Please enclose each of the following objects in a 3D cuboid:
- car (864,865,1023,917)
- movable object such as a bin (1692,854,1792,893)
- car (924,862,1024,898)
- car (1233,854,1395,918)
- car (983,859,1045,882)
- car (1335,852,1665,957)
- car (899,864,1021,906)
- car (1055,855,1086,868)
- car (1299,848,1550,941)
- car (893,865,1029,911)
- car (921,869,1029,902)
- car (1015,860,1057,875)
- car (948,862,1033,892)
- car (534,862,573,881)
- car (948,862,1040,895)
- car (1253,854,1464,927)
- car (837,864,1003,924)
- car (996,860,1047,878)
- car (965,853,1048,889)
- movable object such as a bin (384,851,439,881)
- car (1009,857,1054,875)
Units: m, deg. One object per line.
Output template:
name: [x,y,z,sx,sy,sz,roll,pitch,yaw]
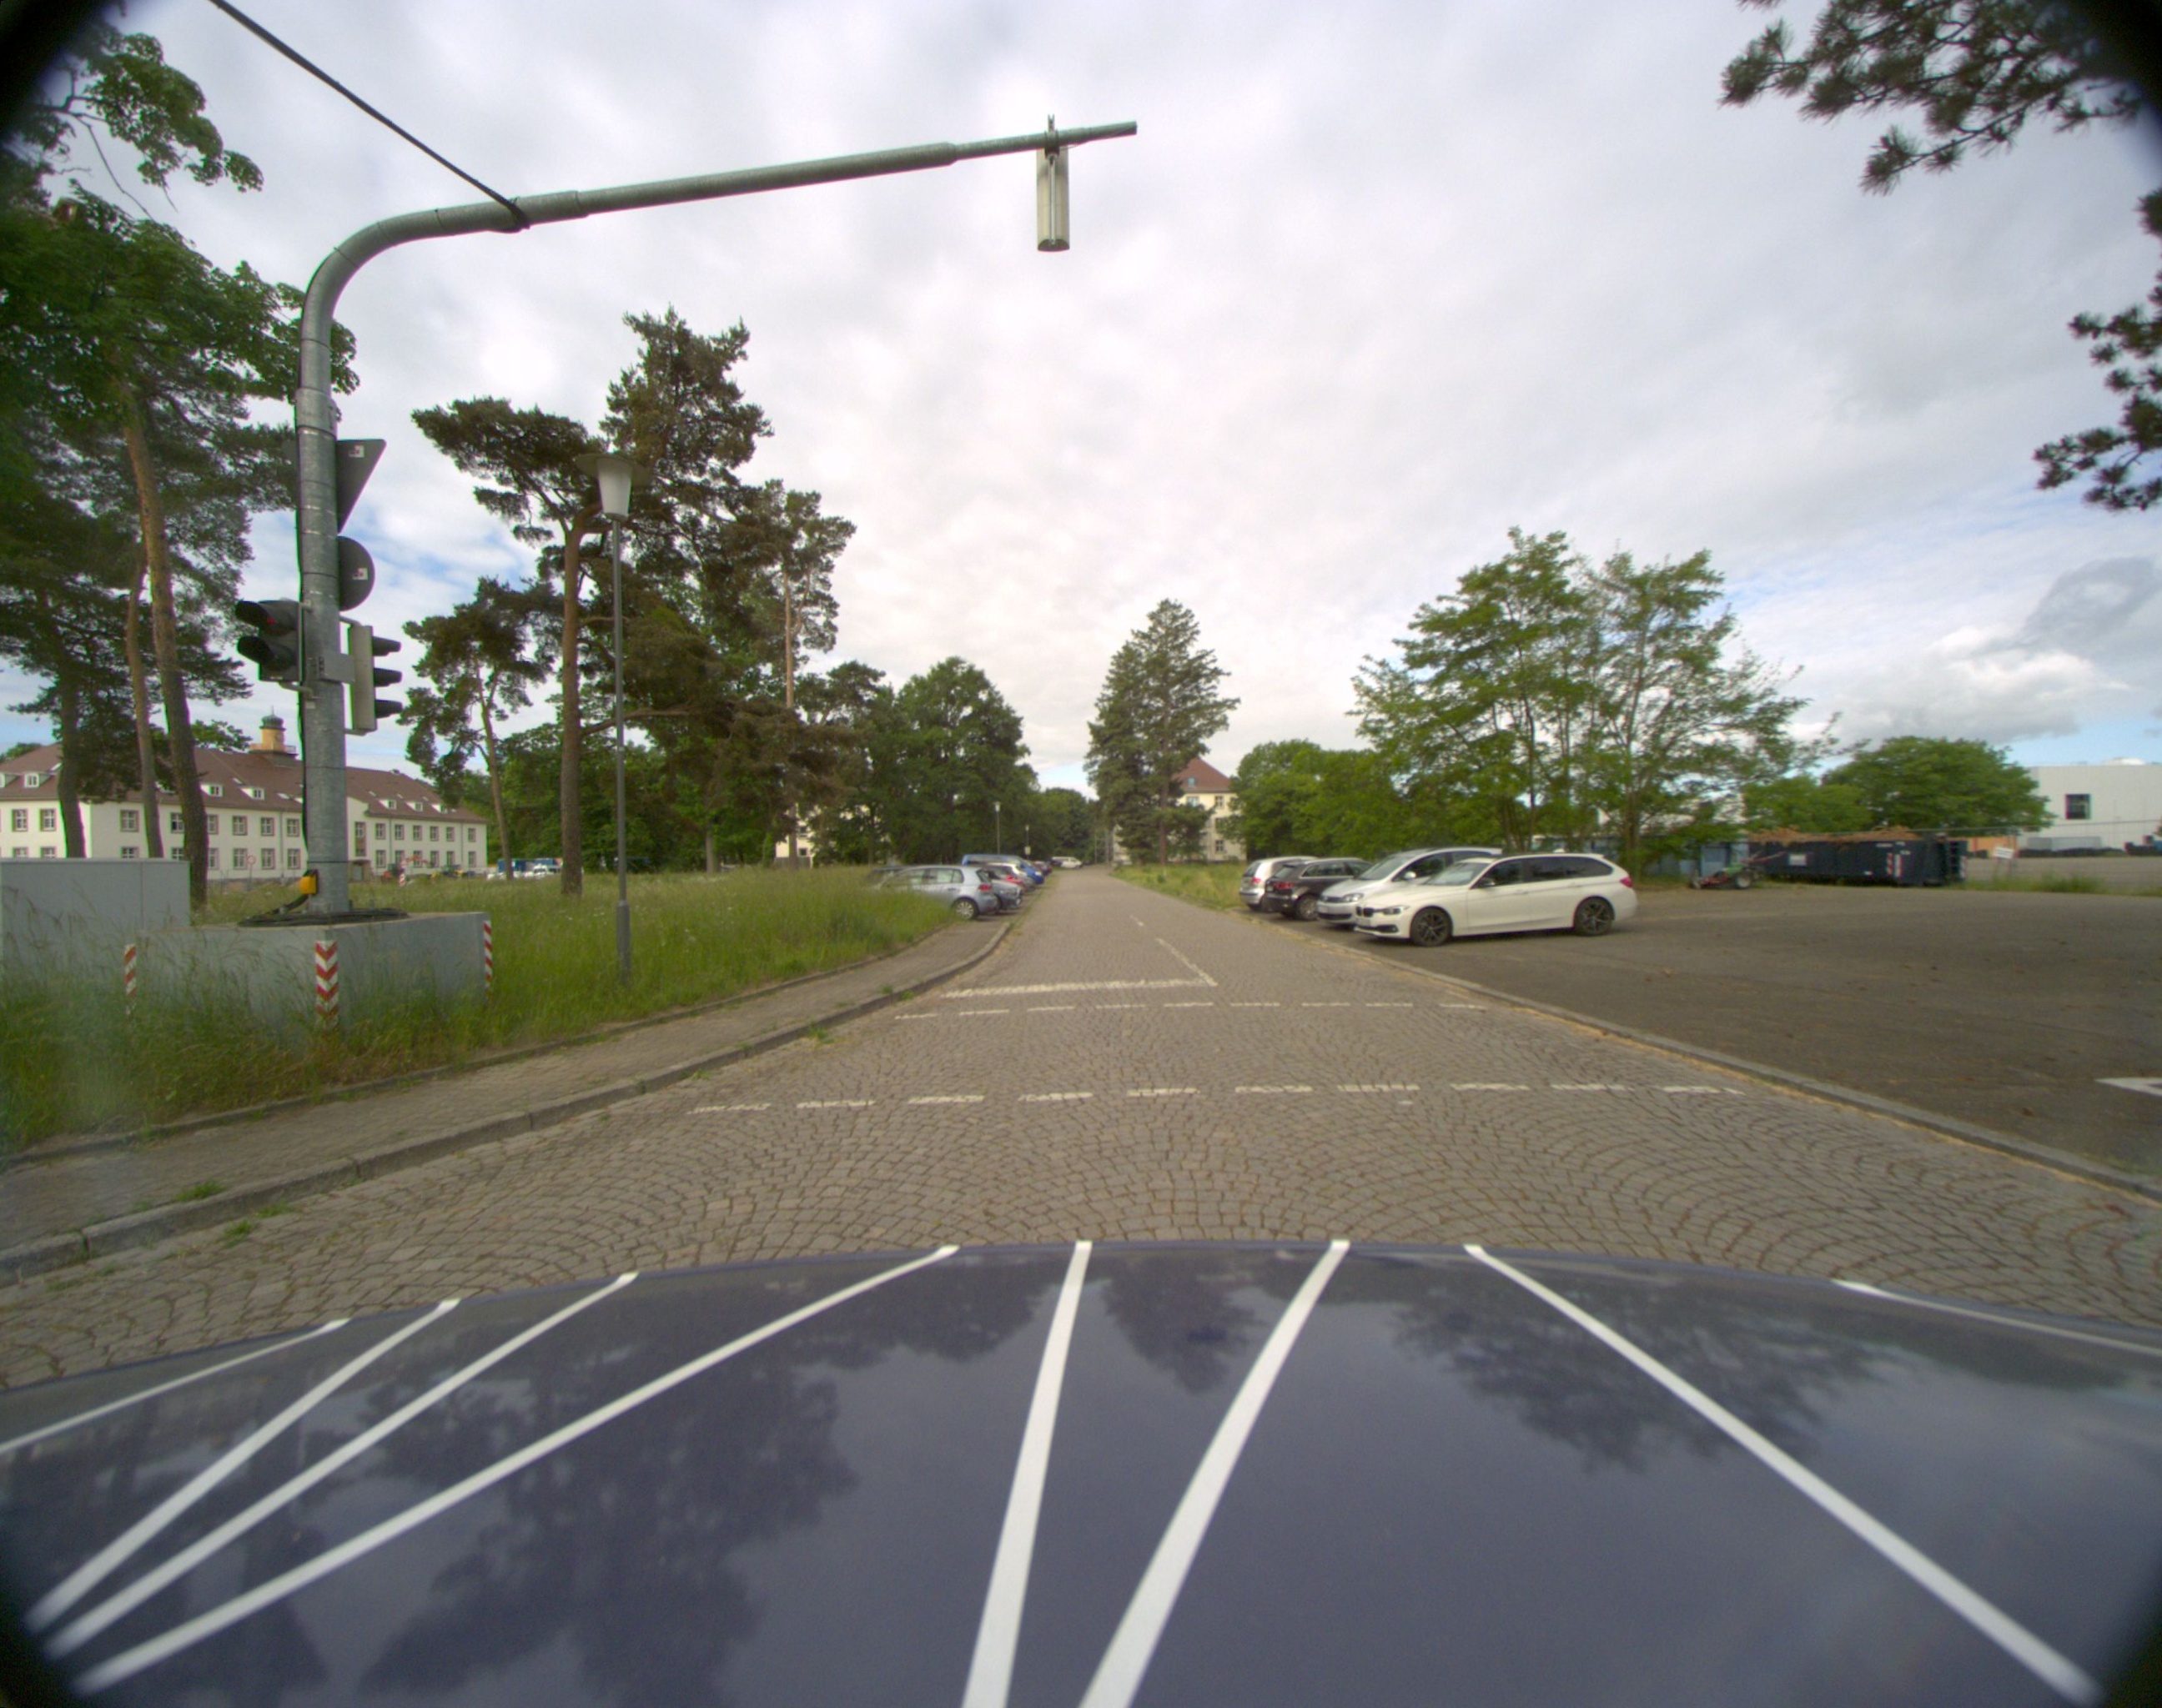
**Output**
car: [-4.010,1.077,22.671,4.440,1.375,1.663,2,0,-2]
movable object such as a bin: [19.628,0.558,22.597,2.267,1.119,0.858,0,1,-2]
car: [-4.561,1.096,32.740,4.050,1.507,1.601,0,0,2]
car: [6.418,0.859,21.167,3.961,1.462,1.584,-3,0,-4]
car: [-4.618,1.111,52.805,4.083,1.583,1.654,0,0,2]
car: [7.166,0.832,13.309,4.752,1.479,1.866,-3,-1,-3]
car: [-4.372,1.126,27.889,4.184,1.473,1.717,0,0,0]
car: [-1.727,1.186,126.874,5.149,2.136,1.774,0,0,-4]
car: [7.065,0.785,15.860,4.376,1.588,1.872,-3,0,-6]
car: [-3.938,1.110,25.417,4.247,1.465,1.717,0,0,2]
car: [-4.134,1.240,30.079,4.051,1.233,1.549,0,0,0]
car: [-4.648,1.384,78.161,4.092,1.524,1.727,0,0,6]
car: [-4.539,1.153,38.489,4.050,1.507,1.601,0,0,2]
car: [-68.891,2.274,99.354,1.862,2.351,4.447,-2,1,0]
car: [-4.021,1.118,35.574,4.097,1.507,1.700,0,0,2]
car: [6.646,0.838,18.496,4.447,1.416,1.721,-3,0,-3]
car: [-4.147,1.026,20.041,4.012,1.420,1.697,2,0,-2]
car: [-4.916,1.259,63.117,4.083,1.436,1.726,0,0,1]
car: [-4.248,0.964,43.908,4.602,1.994,1.912,0,1,1]
movable object such as a bin: [-89.223,1.635,101.258,5.458,3.748,2.053,-2,1,3]
car: [-4.793,1.181,73.468,4.082,1.685,1.727,0,0,6]
